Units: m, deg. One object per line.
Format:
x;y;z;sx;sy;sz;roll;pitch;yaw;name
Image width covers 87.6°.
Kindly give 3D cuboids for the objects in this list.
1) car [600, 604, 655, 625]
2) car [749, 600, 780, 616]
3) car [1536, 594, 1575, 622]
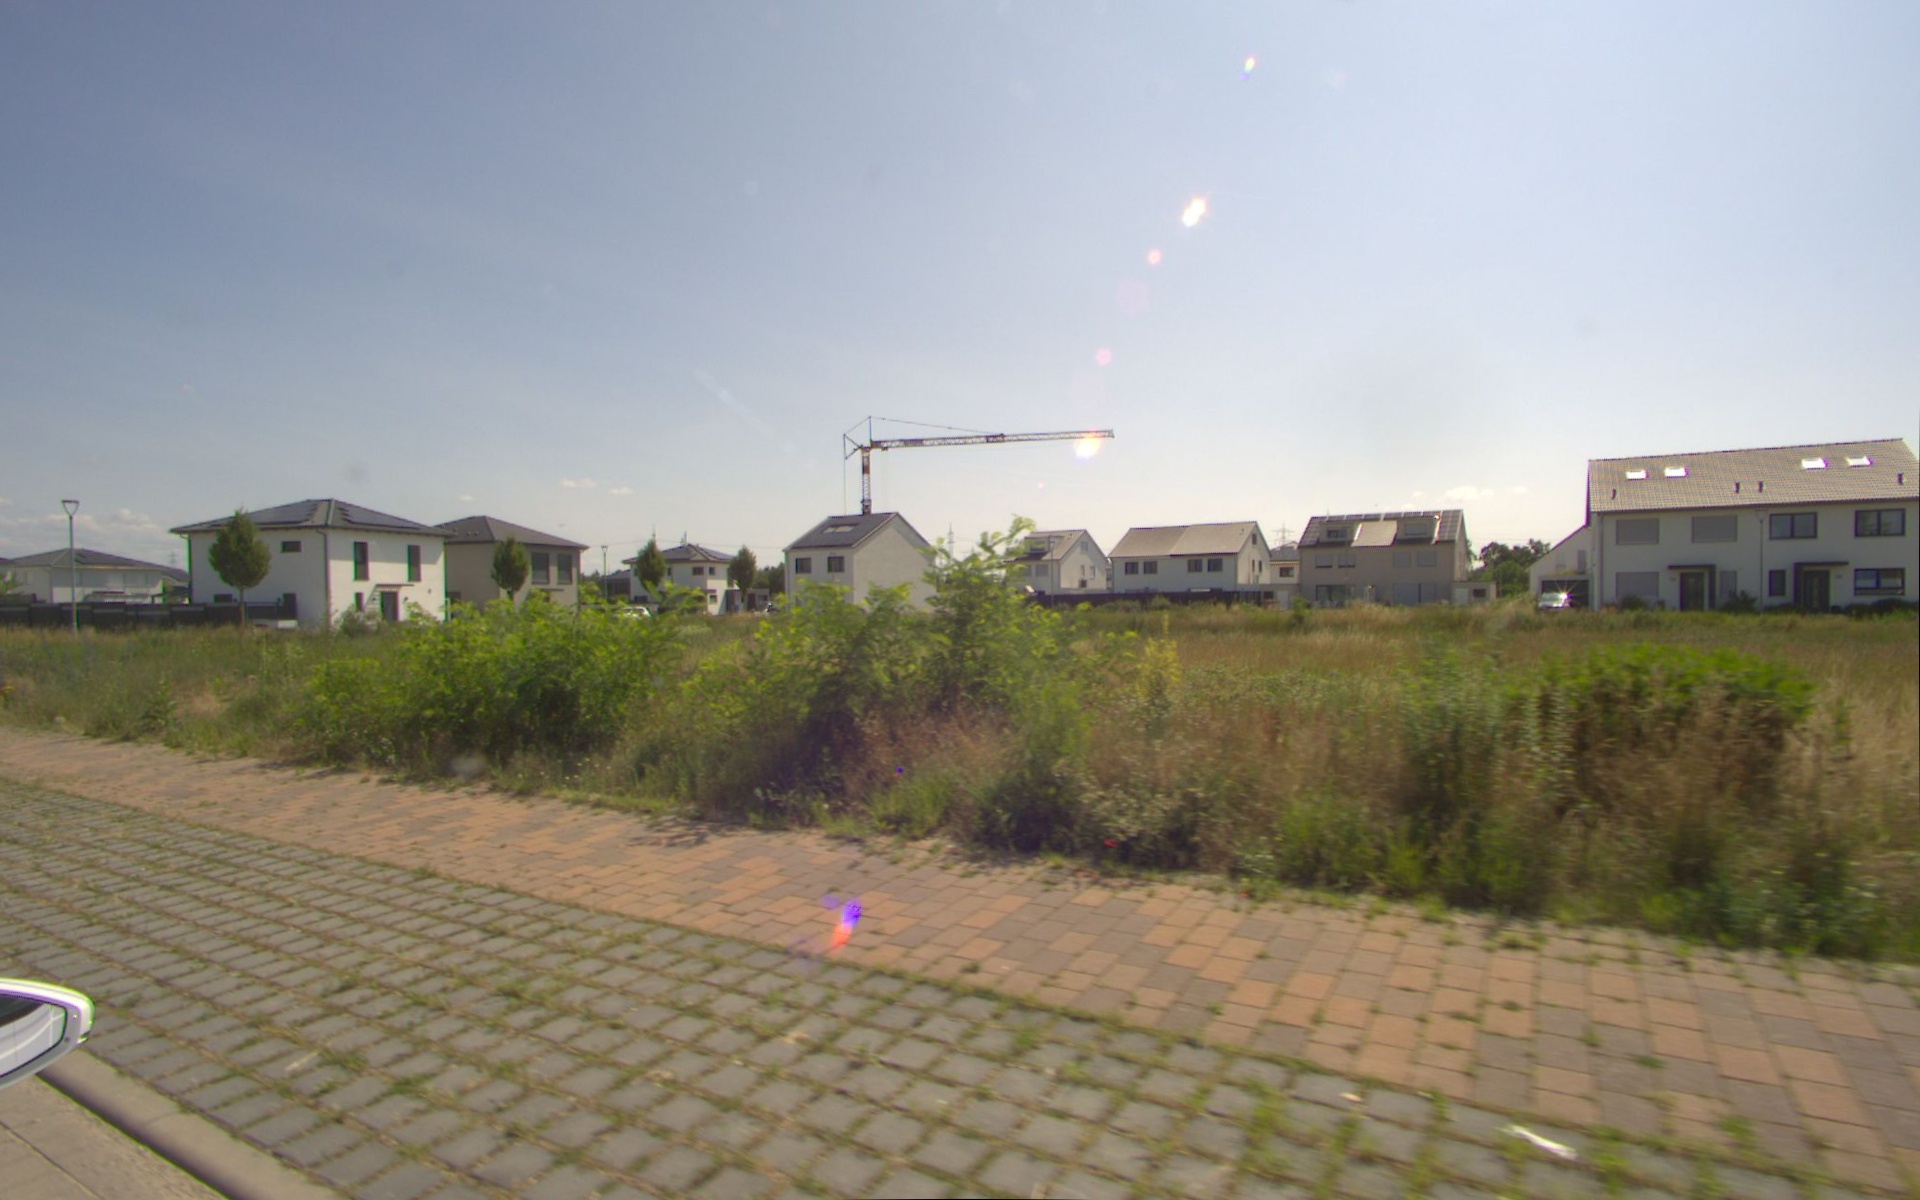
-24.104;1.025;72.687;1.719;1.416;3.993;-1;0;18;car
-21.472;0.893;110.315;1.794;1.776;4.236;0;0;13;car
35.827;0.475;60.206;1.791;1.595;3.975;0;0;35;car
